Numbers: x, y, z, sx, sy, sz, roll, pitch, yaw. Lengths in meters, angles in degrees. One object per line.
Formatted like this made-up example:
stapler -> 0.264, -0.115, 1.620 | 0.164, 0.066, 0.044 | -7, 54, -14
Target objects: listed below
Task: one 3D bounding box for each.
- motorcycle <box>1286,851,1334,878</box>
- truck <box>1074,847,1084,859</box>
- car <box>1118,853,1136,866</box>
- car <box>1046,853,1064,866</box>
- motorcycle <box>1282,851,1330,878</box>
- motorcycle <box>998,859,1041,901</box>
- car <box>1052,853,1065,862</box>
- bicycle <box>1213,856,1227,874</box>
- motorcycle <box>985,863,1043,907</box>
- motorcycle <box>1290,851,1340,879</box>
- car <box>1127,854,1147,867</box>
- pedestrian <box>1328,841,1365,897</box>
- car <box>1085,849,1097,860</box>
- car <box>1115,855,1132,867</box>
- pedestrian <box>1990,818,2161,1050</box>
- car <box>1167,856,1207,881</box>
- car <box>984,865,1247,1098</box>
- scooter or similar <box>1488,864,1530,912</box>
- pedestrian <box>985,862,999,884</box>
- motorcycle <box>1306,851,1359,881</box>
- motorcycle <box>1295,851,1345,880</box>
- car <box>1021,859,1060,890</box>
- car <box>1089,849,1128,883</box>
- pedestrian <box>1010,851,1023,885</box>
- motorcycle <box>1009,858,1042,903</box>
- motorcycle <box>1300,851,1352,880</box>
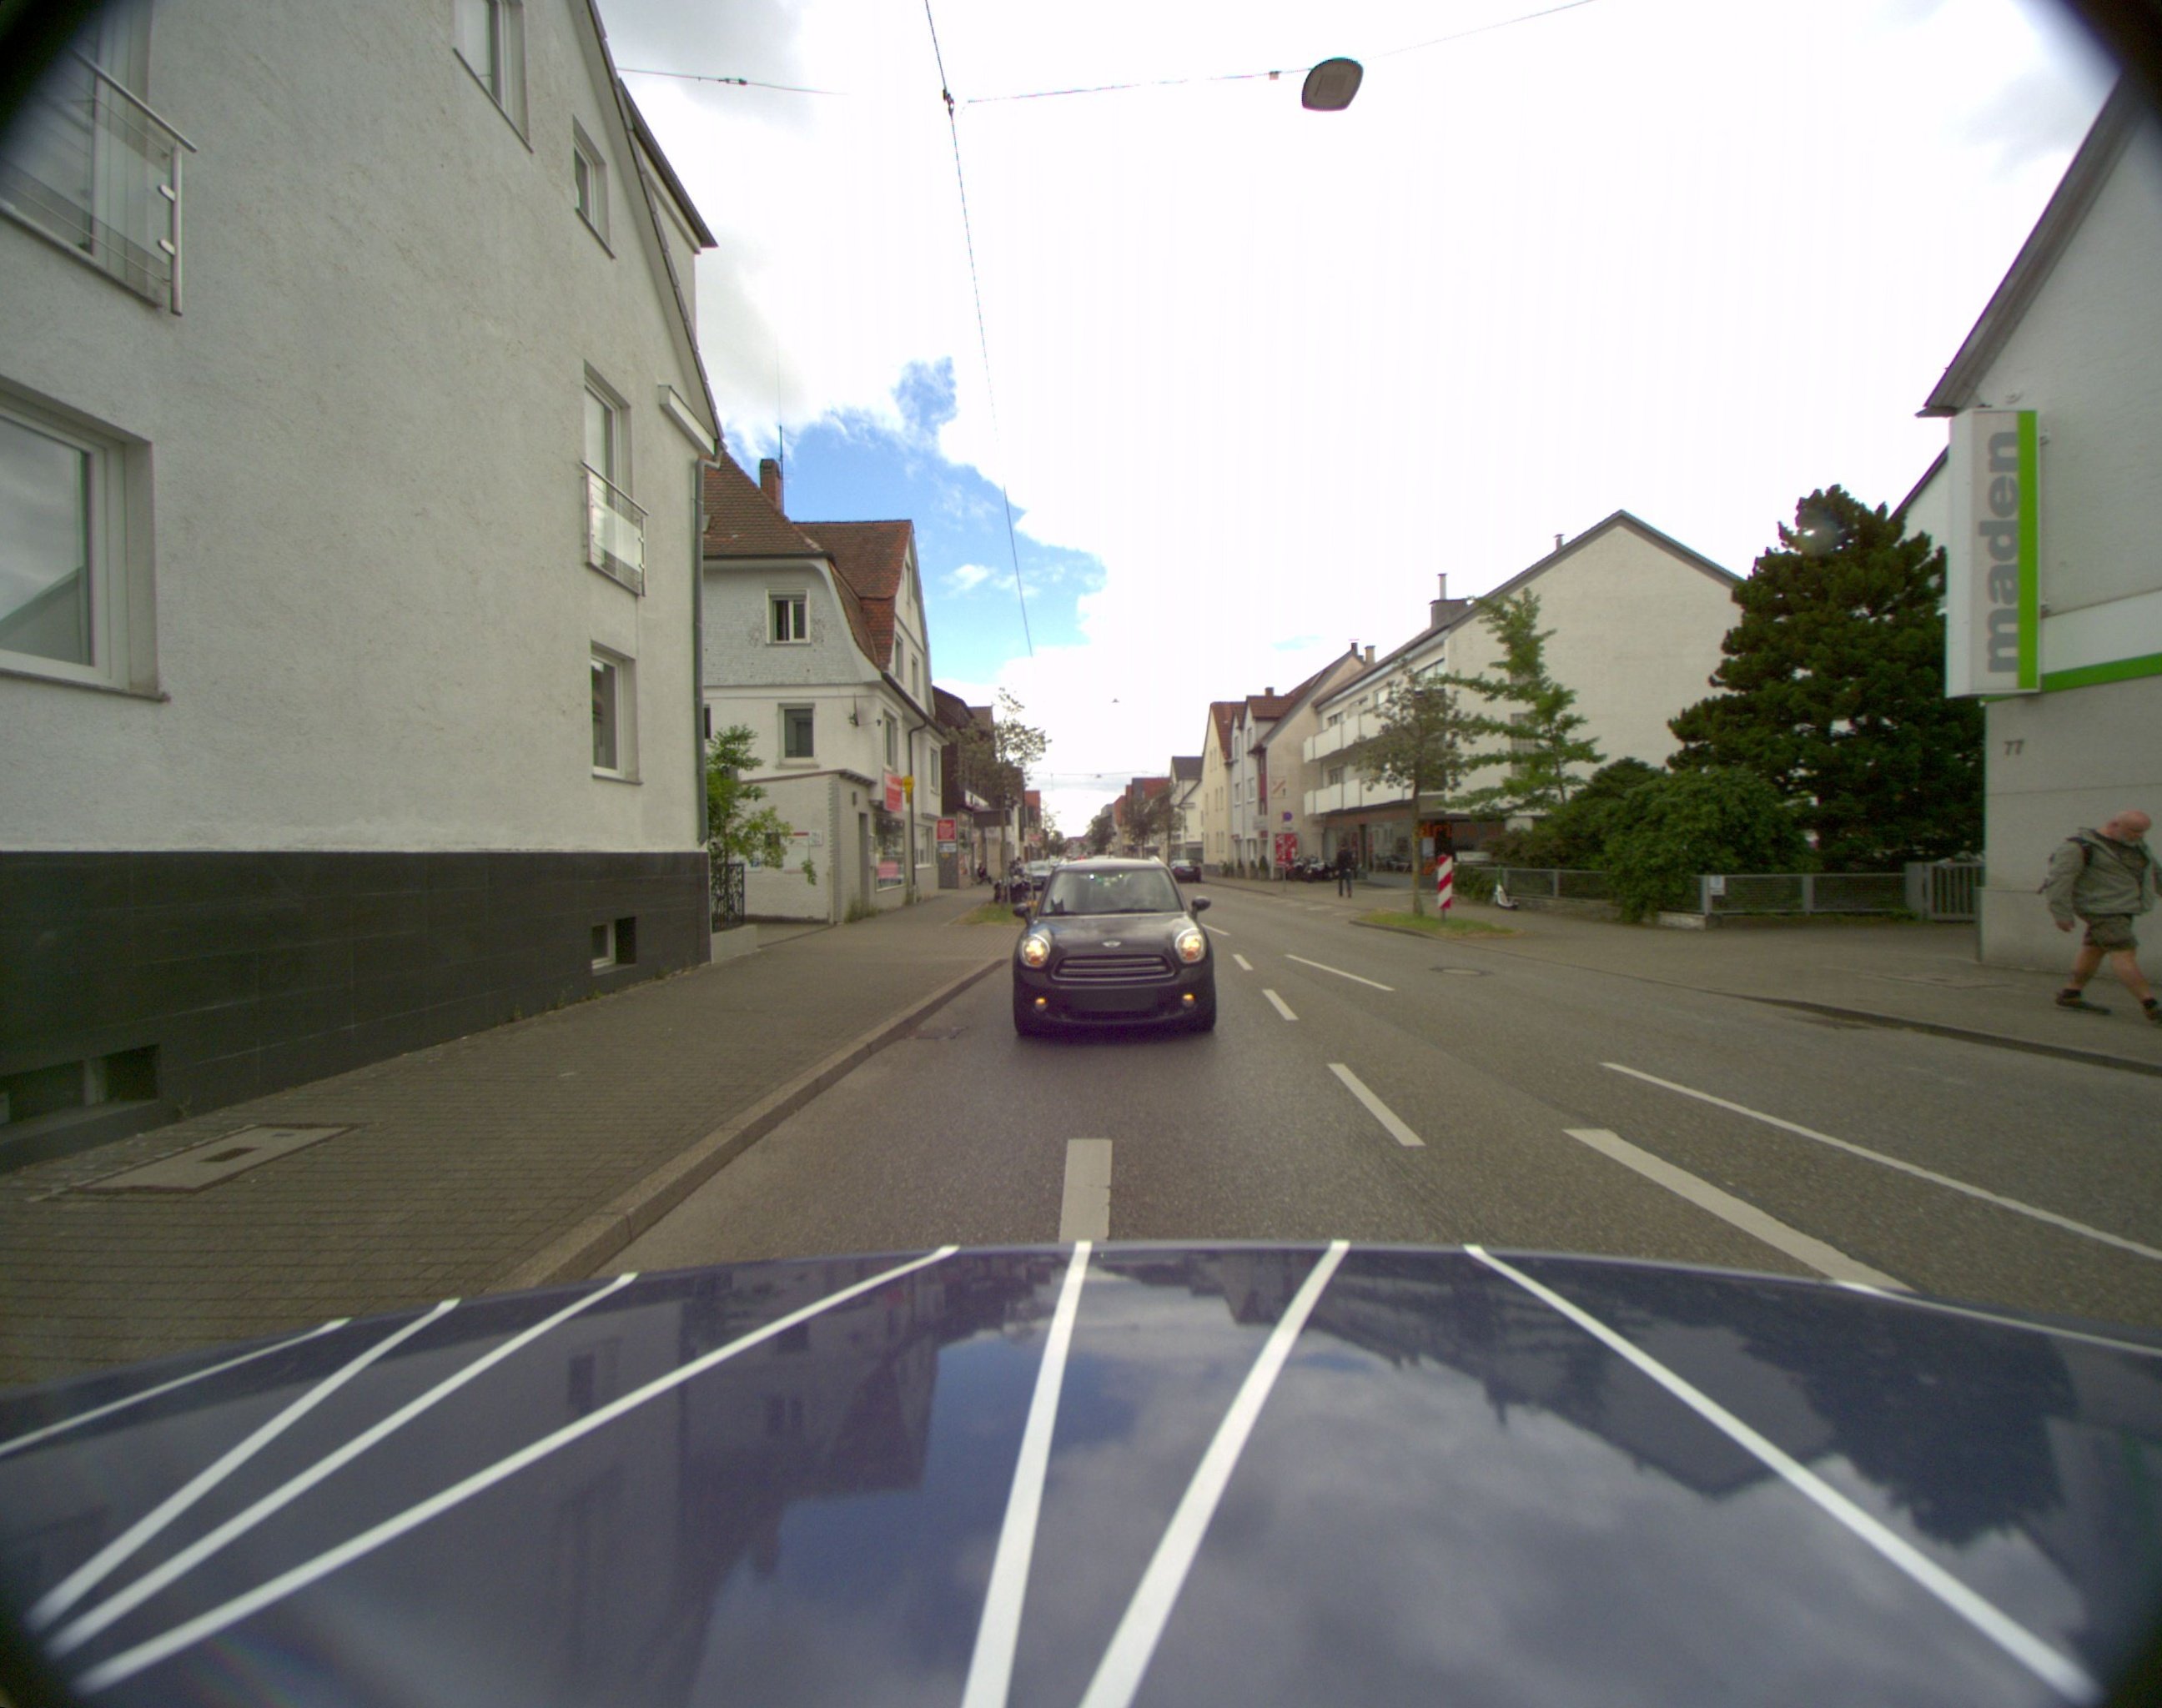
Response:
motorcycle -> 11.788, 0.536, 39.097 | 2.231, 1.258, 0.613 | -4, 1, -2
truck -> -0.637, -0.291, 215.402 | 2.800, 3.020, 8.250 | -2, 0, 0
car -> 5.632, 0.664, 93.102 | 1.716, 1.389, 3.899 | -2, 0, -2
car -> -2.722, 0.606, 81.156 | 1.794, 1.356, 3.948 | 0, 0, 0
motorcycle -> 11.761, 0.534, 39.755 | 2.231, 1.258, 0.613 | -4, 1, -2
motorcycle -> -2.300, 0.957, 28.831 | 0.648, 1.432, 2.472 | -2, 1, 19
car -> -3.329, 0.500, 111.211 | 1.794, 1.397, 3.948 | 0, 0, 0
bicycle -> 9.372, 0.721, 51.373 | 0.515, 1.189, 2.023 | -2, 0, -1
motorcycle -> -2.256, 1.020, 25.292 | 0.777, 1.373, 2.237 | -3, 1, -37
motorcycle -> 11.792, 0.527, 38.337 | 2.231, 1.258, 0.699 | -4, 1, -2
car -> 6.057, 0.688, 82.213 | 1.716, 1.389, 3.899 | -2, 0, -2
pedestrian -> 9.010, 0.499, 25.801 | 0.753, 1.838, 1.019 | -5, 1, 0
car -> 1.838, 0.058, 138.031 | 1.855, 1.932, 4.490 | 0, 0, -2
car -> 5.451, 0.898, 98.052 | 1.716, 1.389, 3.899 | -2, 0, -2
pedestrian -> 8.514, 0.594, 6.262 | 0.753, 1.733, 1.019 | -4, 1, 0
car -> 6.453, 0.847, 46.751 | 1.792, 1.409, 4.340 | 0, 0, -1
car -> 0.174, 0.948, 7.851 | 1.855, 1.527, 4.735 | -2, 0, -2
scooter or similar -> 10.313, 0.803, 18.332 | 0.340, 1.105, 1.180 | -2, 1, 0
pedestrian -> -4.994, 1.059, 42.728 | 0.742, 1.204, 0.644 | 0, 1, -1
motorcycle -> 11.831, 0.555, 35.810 | 2.231, 1.258, 0.613 | -4, 1, -2
motorcycle -> 11.786, 0.547, 37.472 | 2.231, 1.258, 0.613 | -4, 1, -2
car -> -2.026, 1.010, 38.899 | 1.830, 1.400, 4.564 | -2, 0, -1
car -> 1.395, 0.595, 39.732 | 1.855, 1.615, 4.736 | -2, 0, 0
pedestrian -> -3.357, 0.729, 39.666 | 0.644, 1.730, 0.742 | 0, 1, -6
motorcycle -> -1.975, 0.918, 27.462 | 0.672, 1.516, 2.599 | -2, 0, 6
motorcycle -> 11.809, 0.551, 36.645 | 2.231, 1.258, 0.613 | -4, 1, -2
